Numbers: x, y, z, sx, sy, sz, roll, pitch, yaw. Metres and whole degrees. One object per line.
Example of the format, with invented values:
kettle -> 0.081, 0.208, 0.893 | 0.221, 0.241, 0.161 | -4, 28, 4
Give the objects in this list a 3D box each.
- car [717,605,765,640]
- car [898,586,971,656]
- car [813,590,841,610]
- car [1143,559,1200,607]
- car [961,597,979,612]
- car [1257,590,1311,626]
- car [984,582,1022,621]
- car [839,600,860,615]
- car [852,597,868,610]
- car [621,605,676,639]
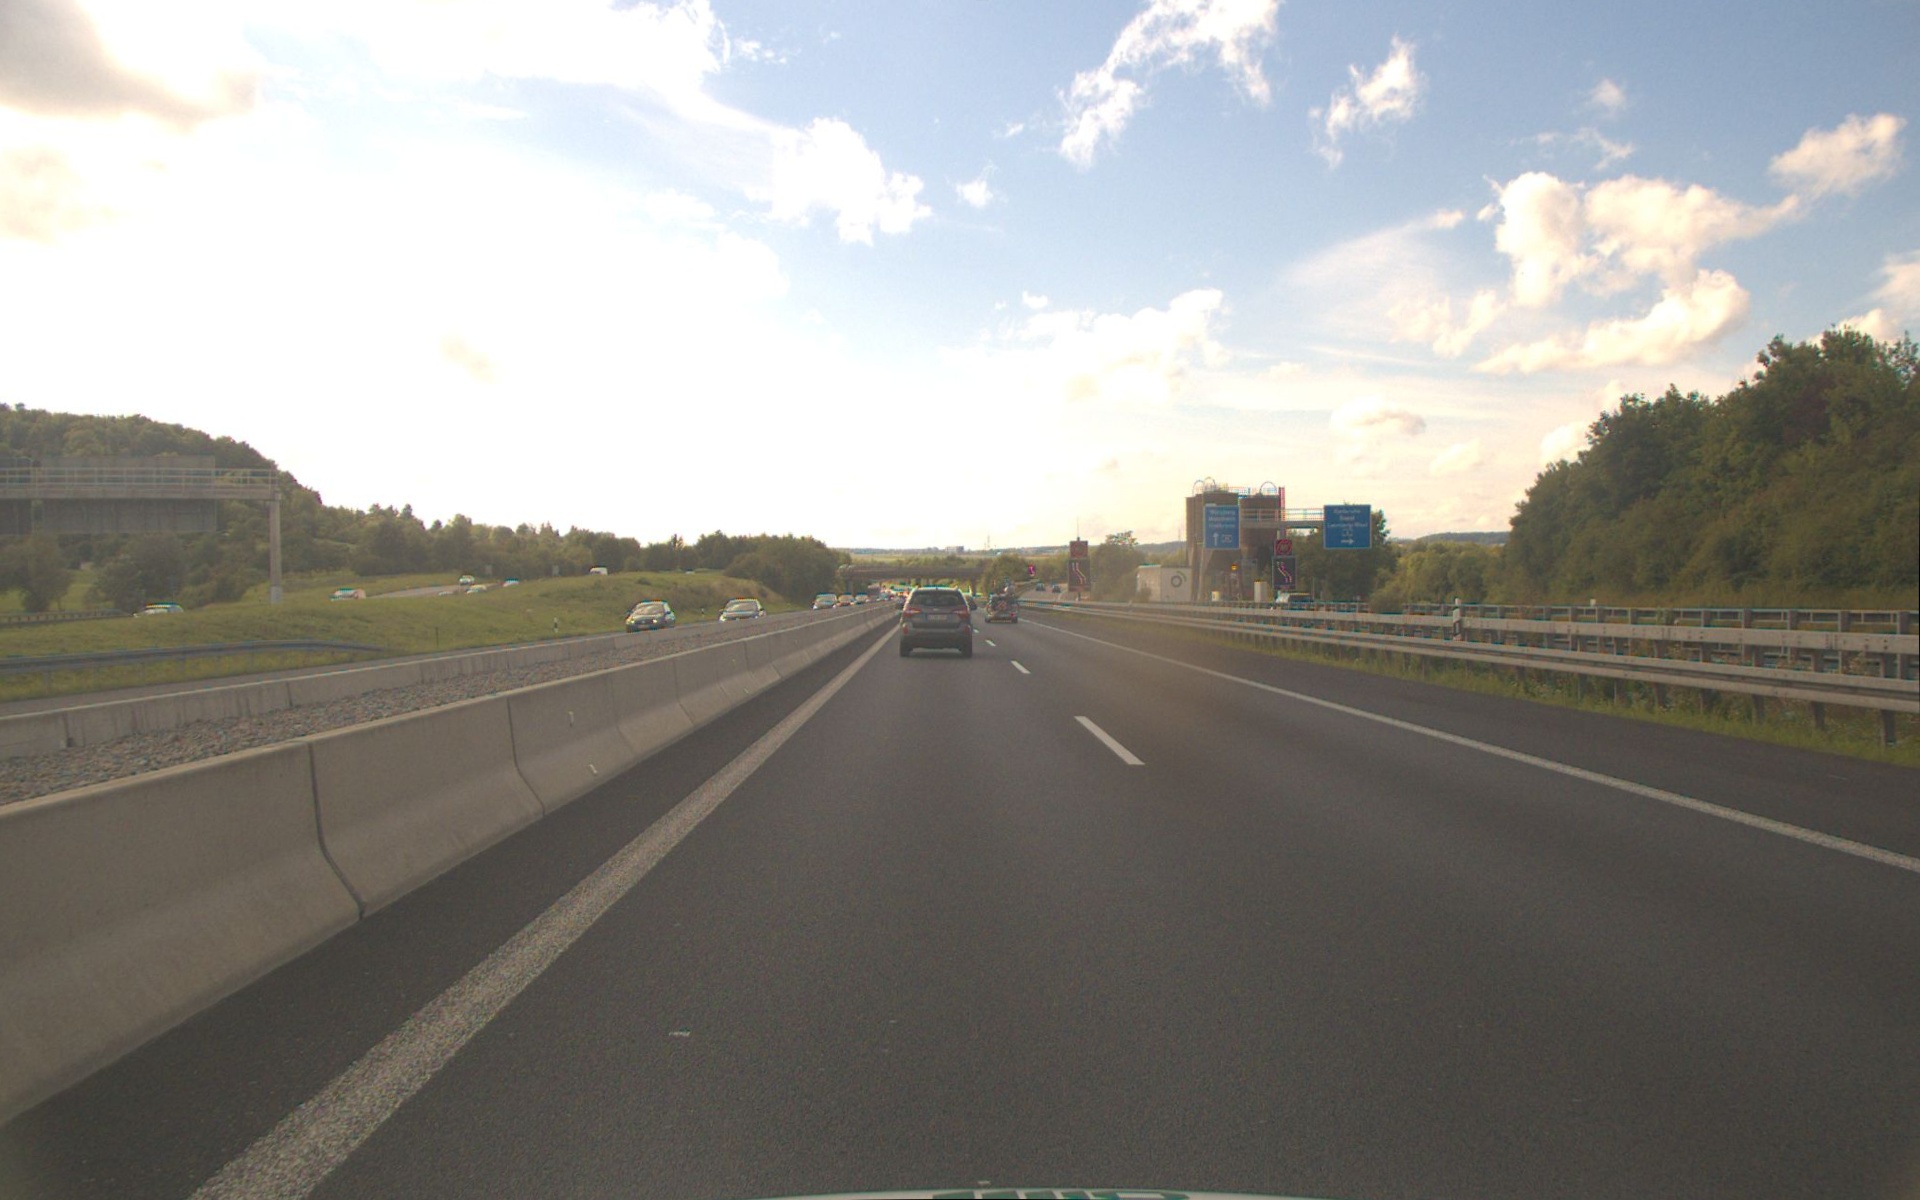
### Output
car -> -9.621, 0.970, 72.853 | 1.608, 1.422, 3.740 | -2, 0, -1
car -> -0.599, 0.505, 41.917 | 1.714, 1.659, 3.609 | -2, 0, 0
car -> -9.849, 0.003, 123.023 | 1.751, 1.422, 4.724 | -2, 0, -1
car -> 17.278, -1.340, 135.591 | 3.504, 3.741, 7.547 | -2, 0, -1
car -> 1.174, 0.532, 198.448 | 1.935, 1.810, 4.119 | -2, 0, -1
car -> 16.810, 0.400, 86.041 | 1.953, 1.747, 3.999 | -2, 0, -1
car -> 2.410, 0.085, 93.473 | 1.953, 2.117, 3.999 | -2, 0, -1
car -> -10.597, 0.725, 159.187 | 1.751, 1.422, 4.798 | -2, 0, -1
car -> -12.036, 0.415, 199.199 | 1.751, 1.422, 4.622 | -2, 0, -1
car -> -13.928, 0.963, 74.199 | 1.692, 1.422, 4.157 | -2, 0, -1
